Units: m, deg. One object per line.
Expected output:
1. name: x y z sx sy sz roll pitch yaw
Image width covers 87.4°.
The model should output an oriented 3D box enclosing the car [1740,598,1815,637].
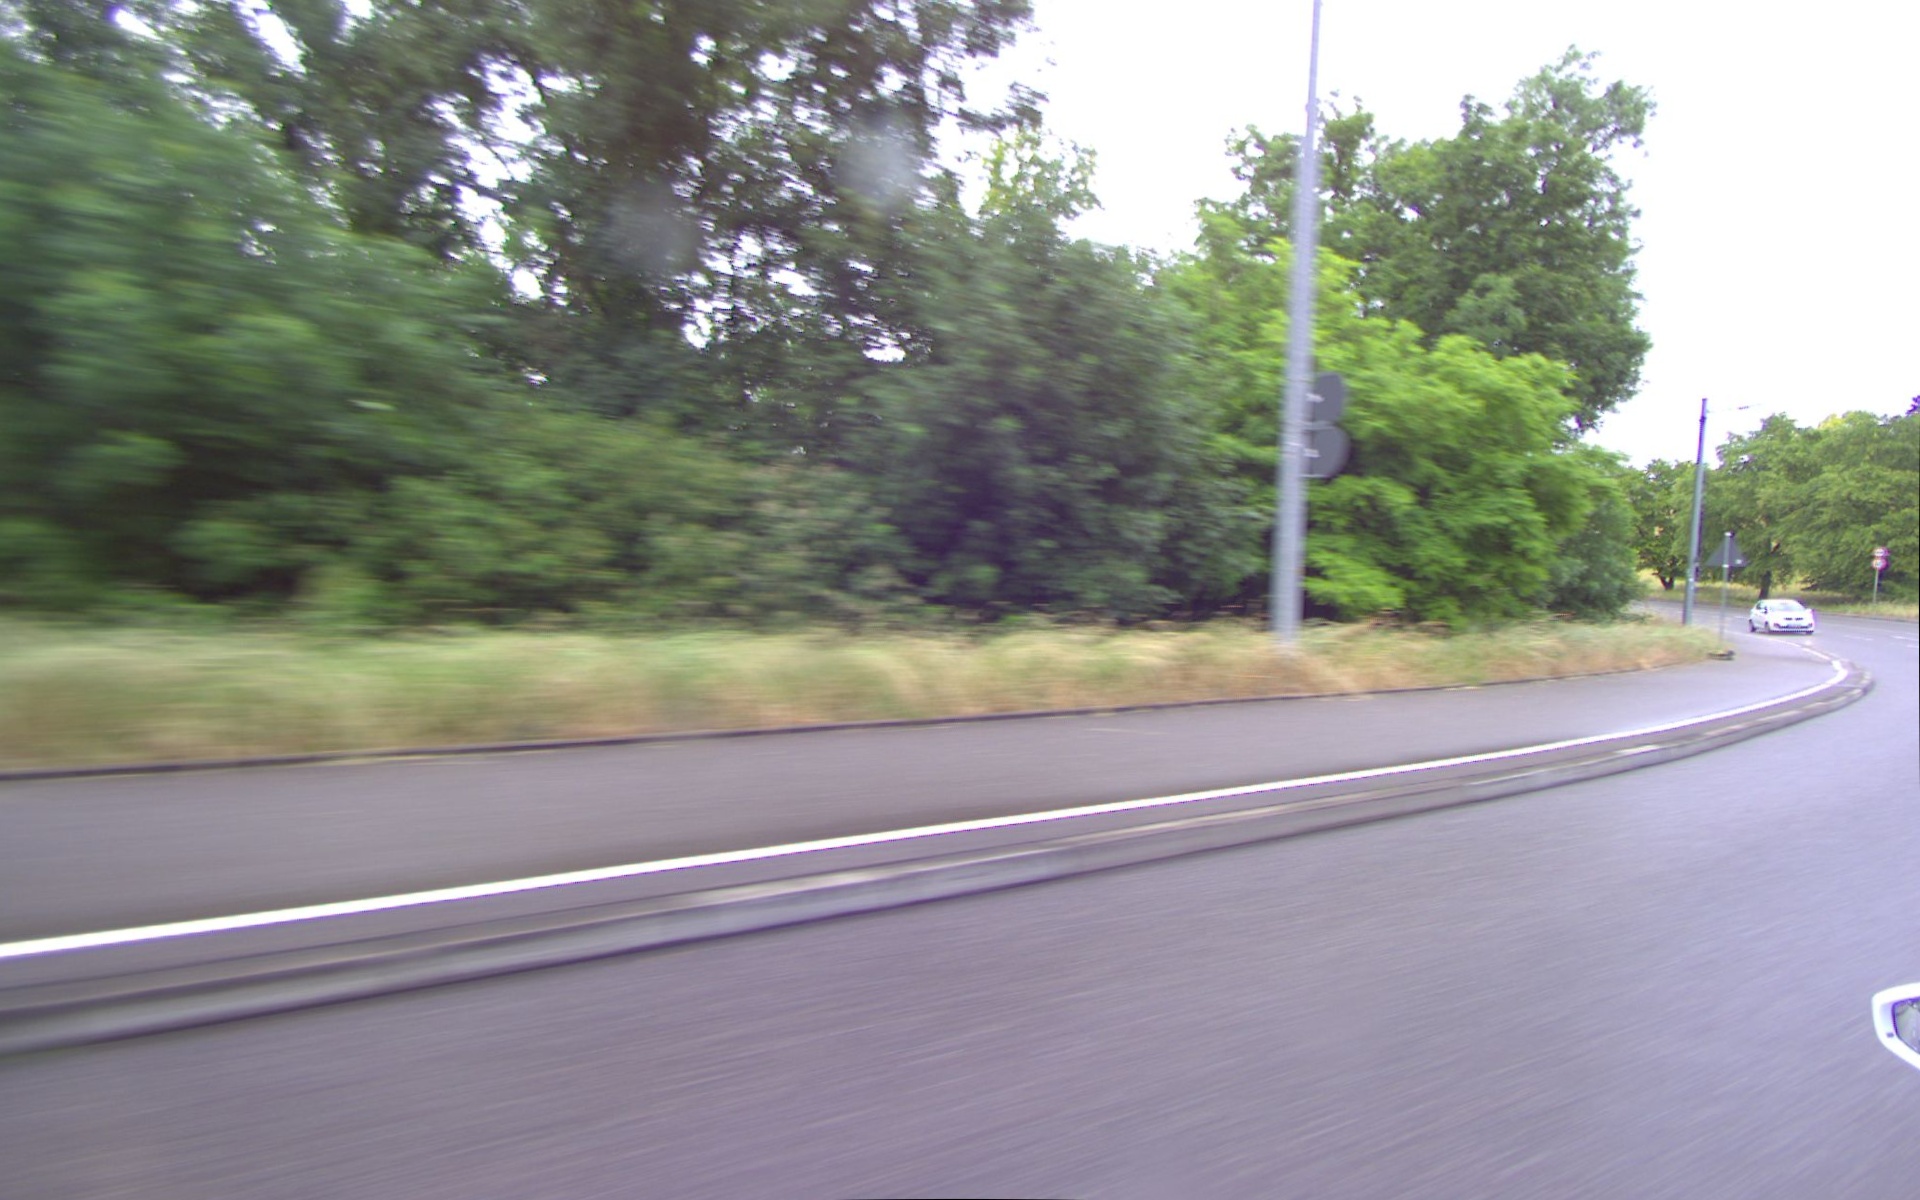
1. car: 36.965 0.782 45.524 1.766 1.506 3.995 -1 2 26
